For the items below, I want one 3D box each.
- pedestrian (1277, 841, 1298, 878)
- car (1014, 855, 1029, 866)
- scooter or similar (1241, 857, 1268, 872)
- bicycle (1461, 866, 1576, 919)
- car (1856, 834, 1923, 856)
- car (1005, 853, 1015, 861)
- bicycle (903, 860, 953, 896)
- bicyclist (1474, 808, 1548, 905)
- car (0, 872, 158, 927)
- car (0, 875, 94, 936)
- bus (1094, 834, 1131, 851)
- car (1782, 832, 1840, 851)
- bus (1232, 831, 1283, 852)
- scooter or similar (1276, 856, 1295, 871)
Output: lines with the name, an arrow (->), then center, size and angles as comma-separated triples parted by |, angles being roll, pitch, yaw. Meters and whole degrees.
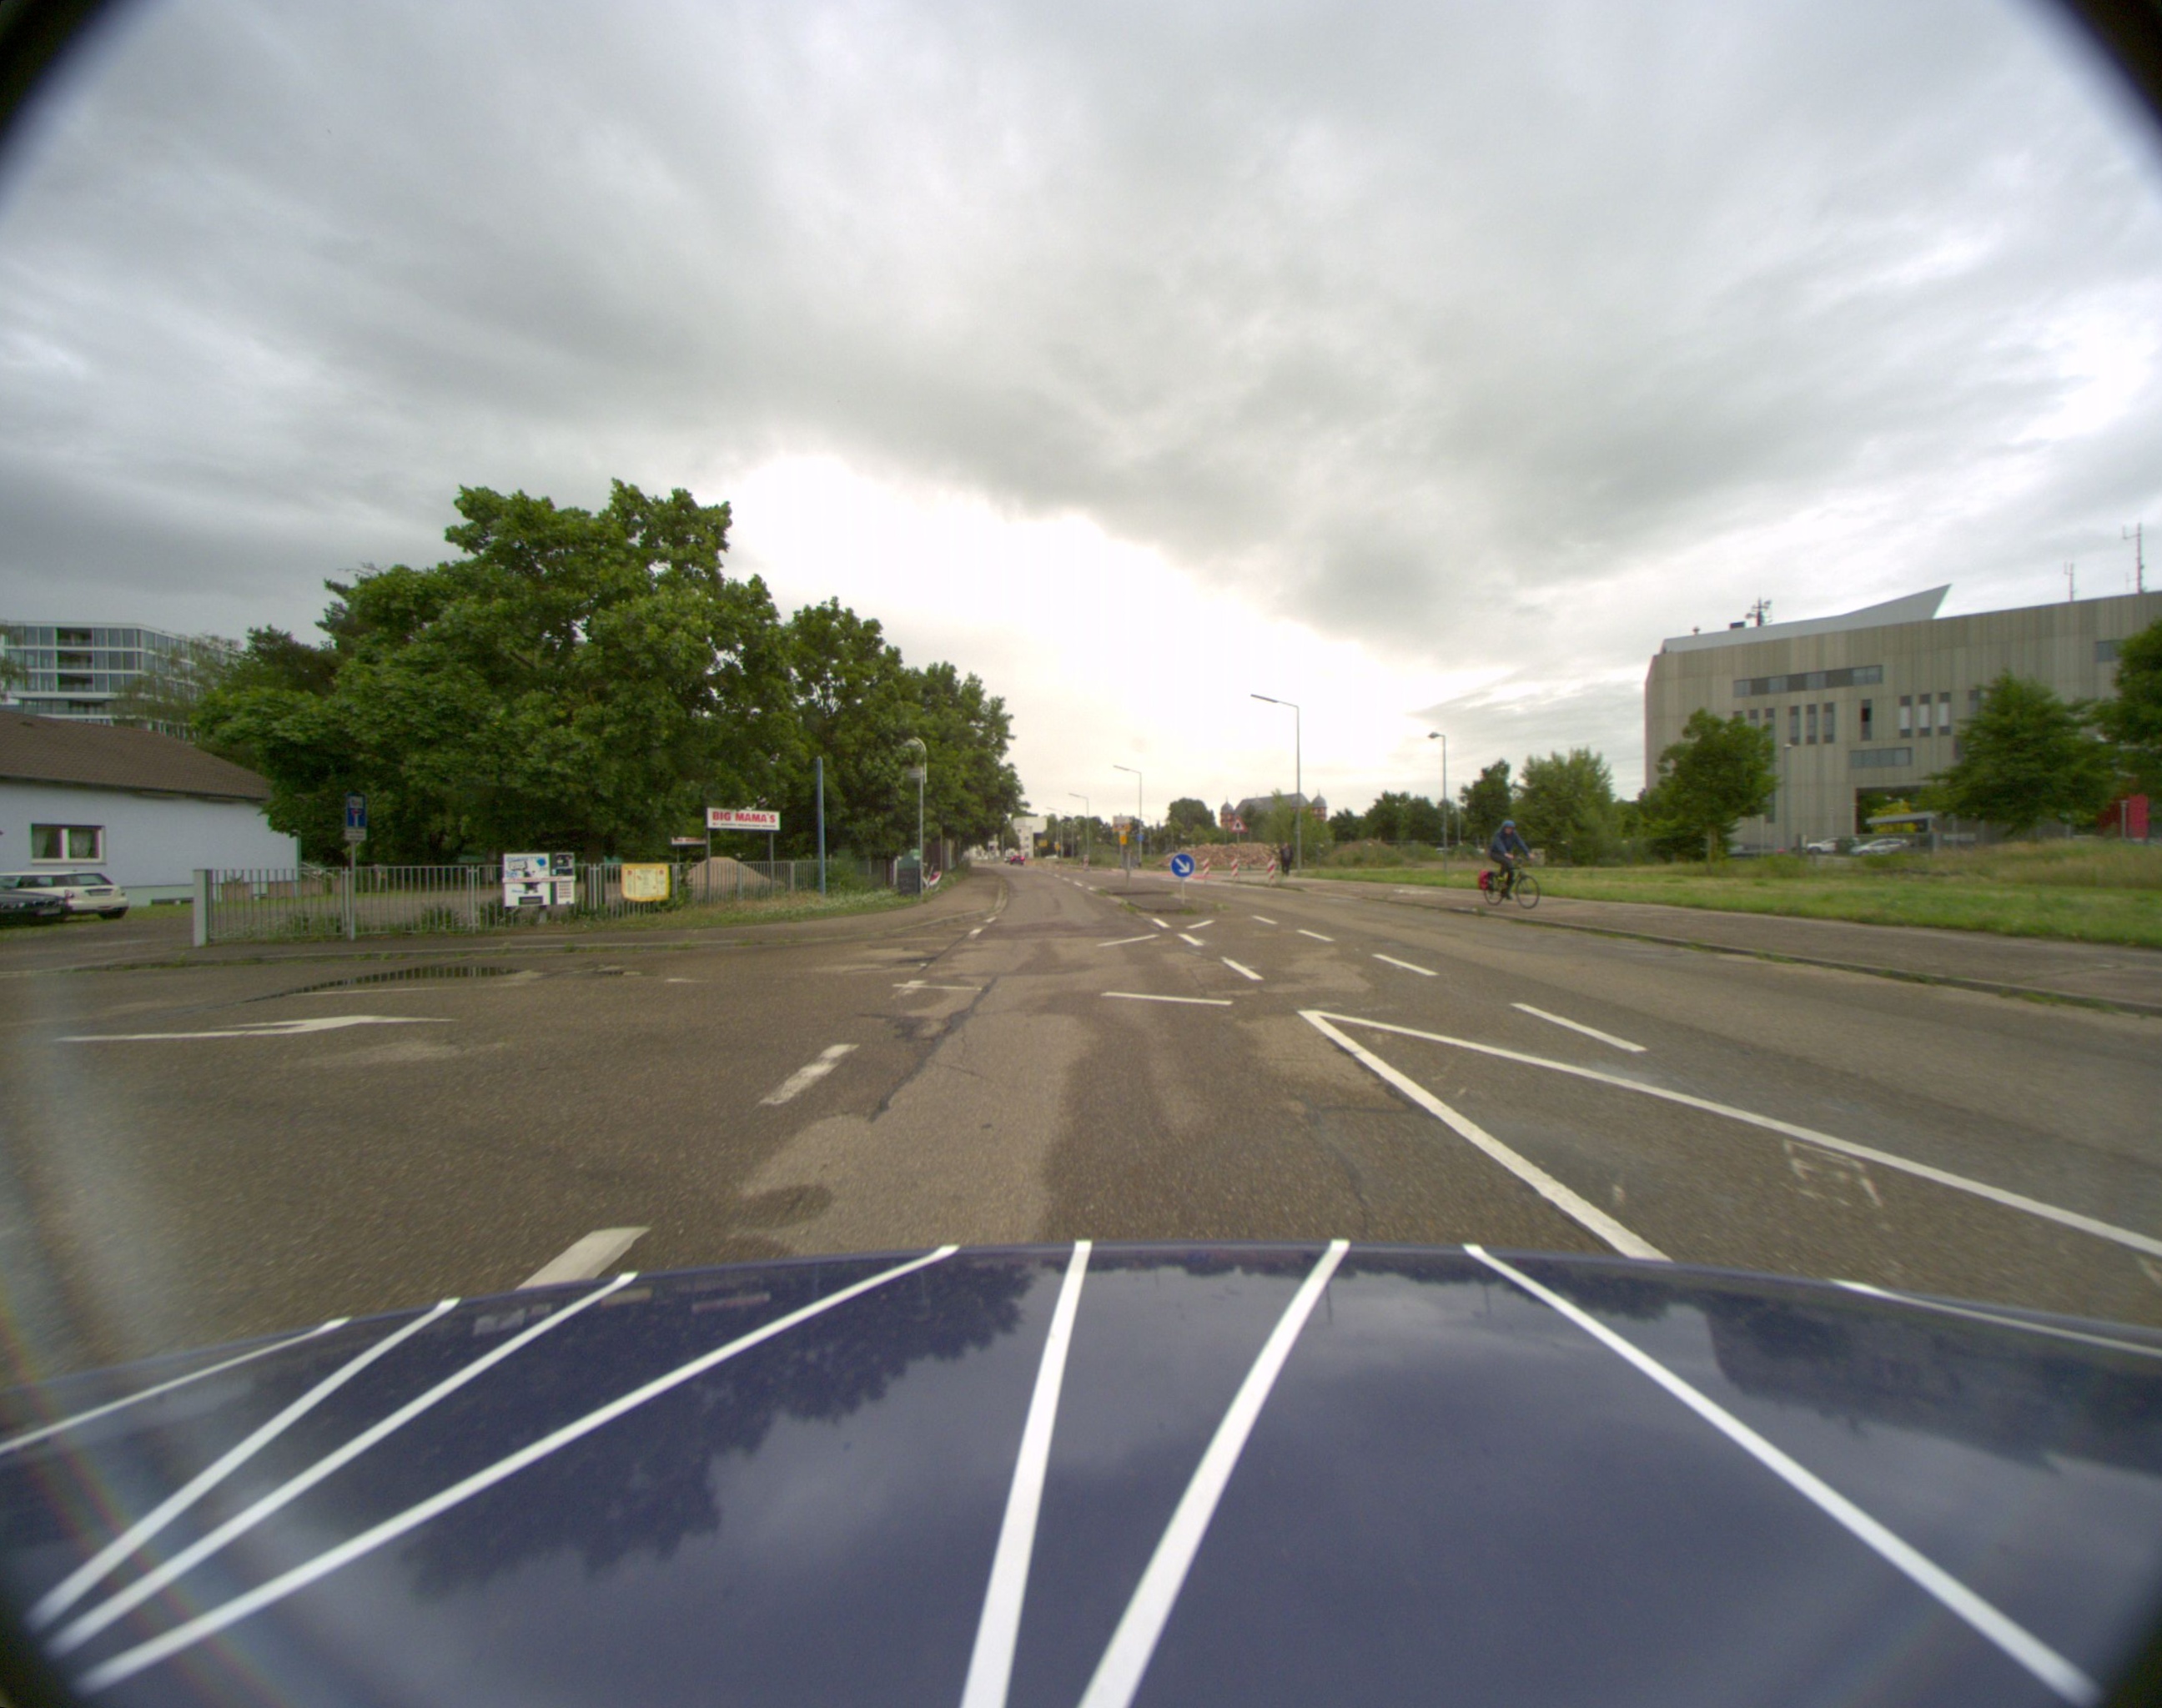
pedestrian -> 10.266, 0.276, 37.830 | 0.845, 1.772, 1.078 | -1, 0, 7
car -> -8.575, 0.997, 109.549 | 1.887, 1.557, 4.356 | -1, -1, -7
scooter or similar -> 13.280, 0.834, 58.310 | 1.898, 1.135, 0.658 | -1, 1, 38
bicycle -> 9.319, 0.784, 16.344 | 0.886, 1.046, 2.468 | -1, -1, -5
car -> 66.845, -0.750, 62.860 | 3.469, 1.751, 1.731 | -1, 0, 34
car -> -14.081, 0.573, 151.203 | 1.756, 1.578, 3.898 | 1, 0, -9
bicycle -> -5.098, 0.787, 25.430 | 0.796, 1.104, 1.954 | -1, 0, 16
bicyclist -> 9.296, 0.058, 16.471 | 0.864, 2.001, 1.177 | -1, 0, -6
car -> -28.883, 1.229, 20.863 | 4.304, 1.379, 1.834 | -1, 0, -10
car -> -27.722, 1.294, 18.620 | 4.001, 1.402, 1.867 | -1, 0, -12
bus -> 7.446, -2.717, 180.163 | 8.375, 3.626, 2.740 | -1, -1, 33
car -> 72.572, -1.205, 75.626 | 3.877, 1.751, 1.731 | -1, 0, 34
bus -> 36.668, -2.555, 158.088 | 9.862, 3.958, 2.740 | -1, -1, 37
scooter or similar -> 15.696, 0.735, 58.334 | 1.335, 1.136, 0.412 | -1, 2, 23
